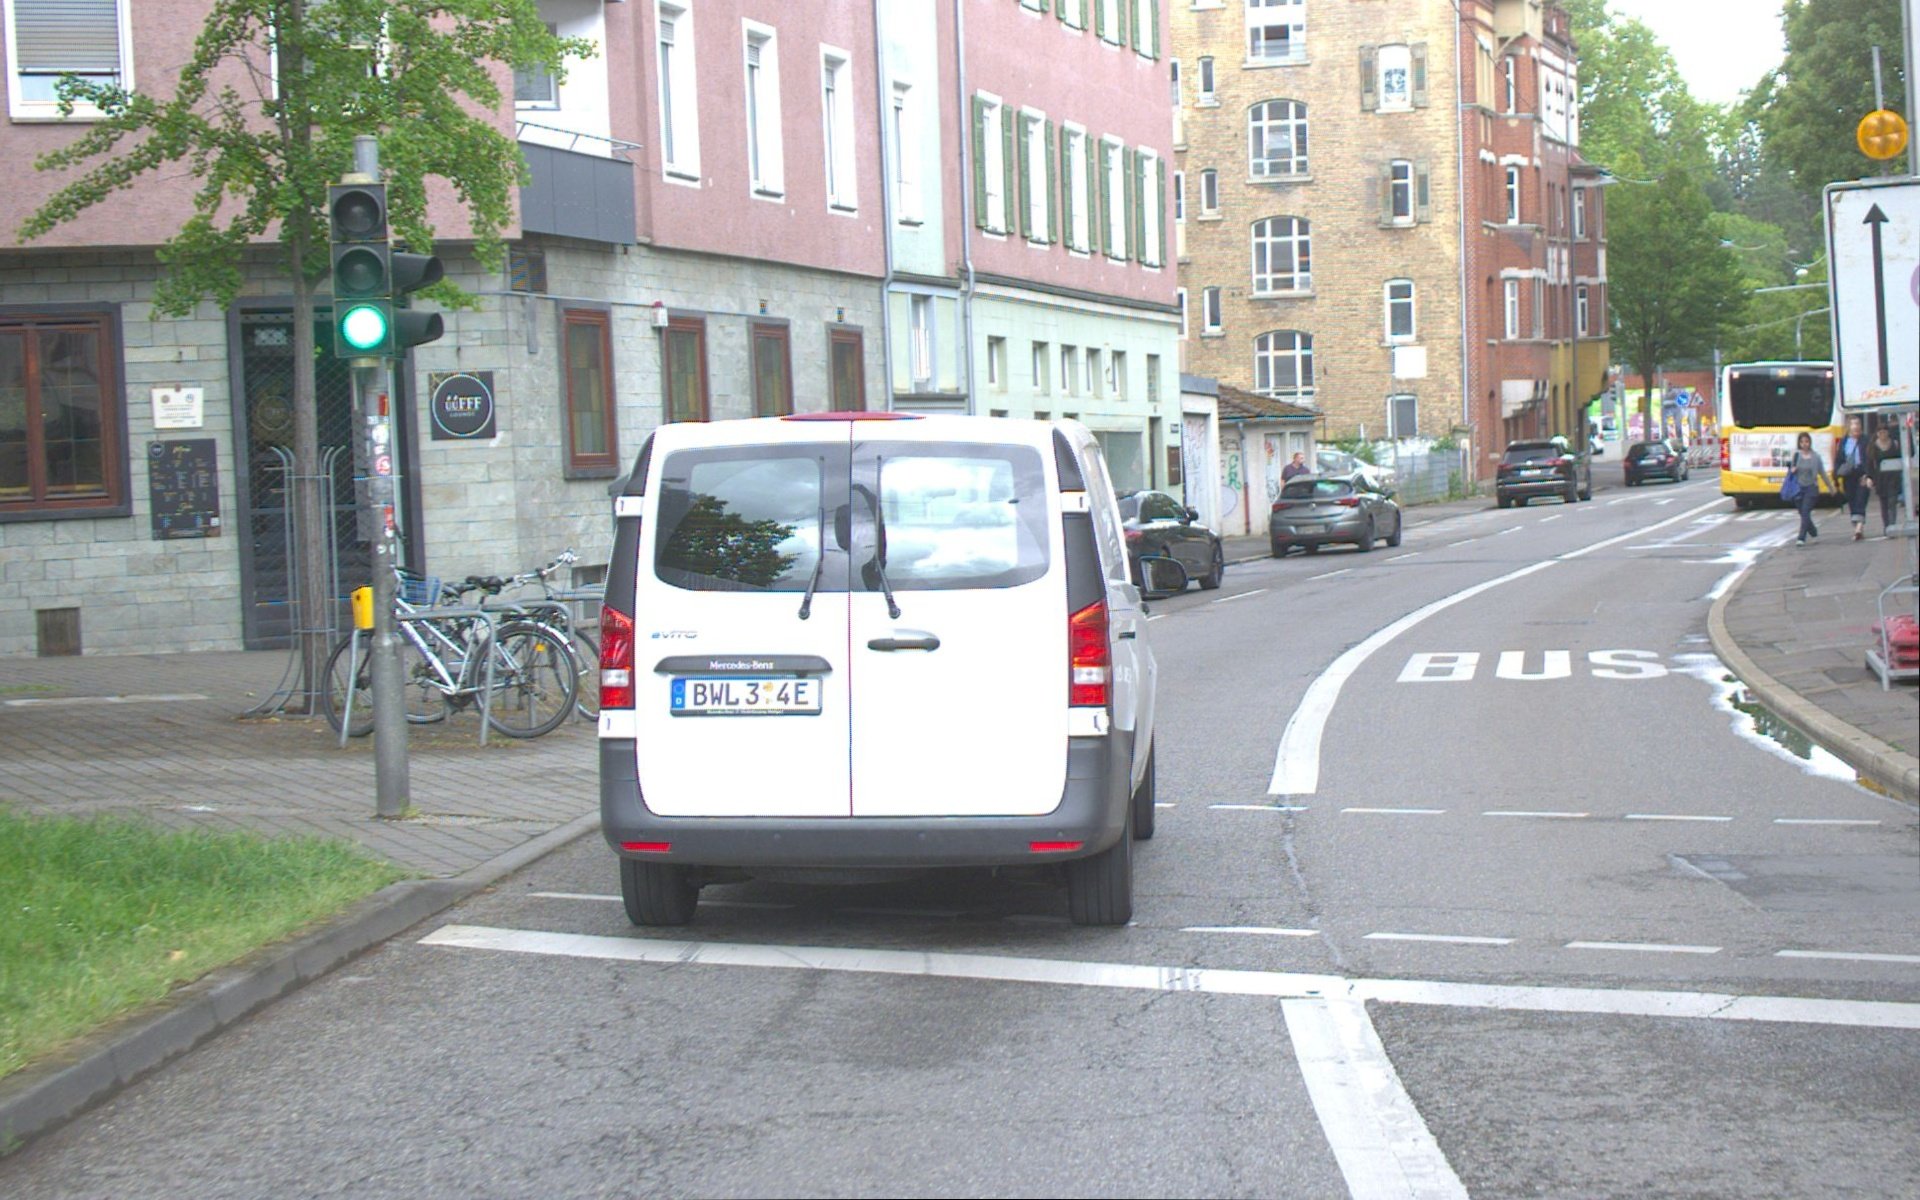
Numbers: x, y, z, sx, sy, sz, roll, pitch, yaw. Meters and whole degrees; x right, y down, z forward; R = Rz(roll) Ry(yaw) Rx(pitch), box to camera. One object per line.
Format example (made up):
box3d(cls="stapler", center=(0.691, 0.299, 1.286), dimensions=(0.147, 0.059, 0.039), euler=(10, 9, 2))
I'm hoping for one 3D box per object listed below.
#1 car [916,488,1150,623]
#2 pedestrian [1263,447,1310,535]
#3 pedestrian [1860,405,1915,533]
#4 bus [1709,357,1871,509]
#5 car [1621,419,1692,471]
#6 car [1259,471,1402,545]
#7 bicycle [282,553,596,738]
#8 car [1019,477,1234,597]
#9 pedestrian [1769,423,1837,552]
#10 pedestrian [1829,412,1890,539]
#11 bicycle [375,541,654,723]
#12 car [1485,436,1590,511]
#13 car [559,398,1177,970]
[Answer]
box3d(cls="car", center=(0.948, -0.573, 41.245), dimensions=(1.830, 1.450, 4.582), euler=(-2, 2, 14))
box3d(cls="pedestrian", center=(6.473, -2.168, 68.121), dimensions=(0.761, 1.738, 0.984), euler=(0, 2, 15))
box3d(cls="pedestrian", center=(13.120, -1.859, 48.640), dimensions=(0.543, 1.750, 0.608), euler=(-3, 3, 25))
box3d(cls="bus", center=(18.322, -3.705, 75.478), dimensions=(2.665, 3.125, 10.033), euler=(1, 3, 18))
box3d(cls="car", center=(22.976, -5.116, 113.308), dimensions=(1.726, 1.480, 4.387), euler=(-1, 5, 19))
box3d(cls="car", center=(6.703, -1.656, 61.884), dimensions=(1.995, 1.285, 3.998), euler=(1, 1, 14))
box3d(cls="bicycle", center=(-3.273, 0.273, 21.606), dimensions=(1.871, 1.110, 0.577), euler=(0, 2, 14))
box3d(cls="car", center=(2.316, -0.886, 46.436), dimensions=(1.830, 1.450, 4.918), euler=(-2, 2, 16))
box3d(cls="pedestrian", center=(12.333, -1.651, 50.315), dimensions=(0.803, 1.787, 0.942), euler=(-4, 3, 12))
box3d(cls="pedestrian", center=(12.994, -1.803, 49.684), dimensions=(0.687, 1.750, 0.878), euler=(-4, 3, 12))
box3d(cls="bicycle", center=(-2.955, 0.202, 22.862), dimensions=(1.801, 1.172, 0.725), euler=(0, 2, -7))
box3d(cls="car", center=(14.807, -3.268, 87.986), dimensions=(1.955, 1.727, 4.770), euler=(-1, 3, 18))
box3d(cls="car", center=(-0.172, 0.220, 13.887), dimensions=(1.917, 1.895, 4.701), euler=(1, 1, 6))
